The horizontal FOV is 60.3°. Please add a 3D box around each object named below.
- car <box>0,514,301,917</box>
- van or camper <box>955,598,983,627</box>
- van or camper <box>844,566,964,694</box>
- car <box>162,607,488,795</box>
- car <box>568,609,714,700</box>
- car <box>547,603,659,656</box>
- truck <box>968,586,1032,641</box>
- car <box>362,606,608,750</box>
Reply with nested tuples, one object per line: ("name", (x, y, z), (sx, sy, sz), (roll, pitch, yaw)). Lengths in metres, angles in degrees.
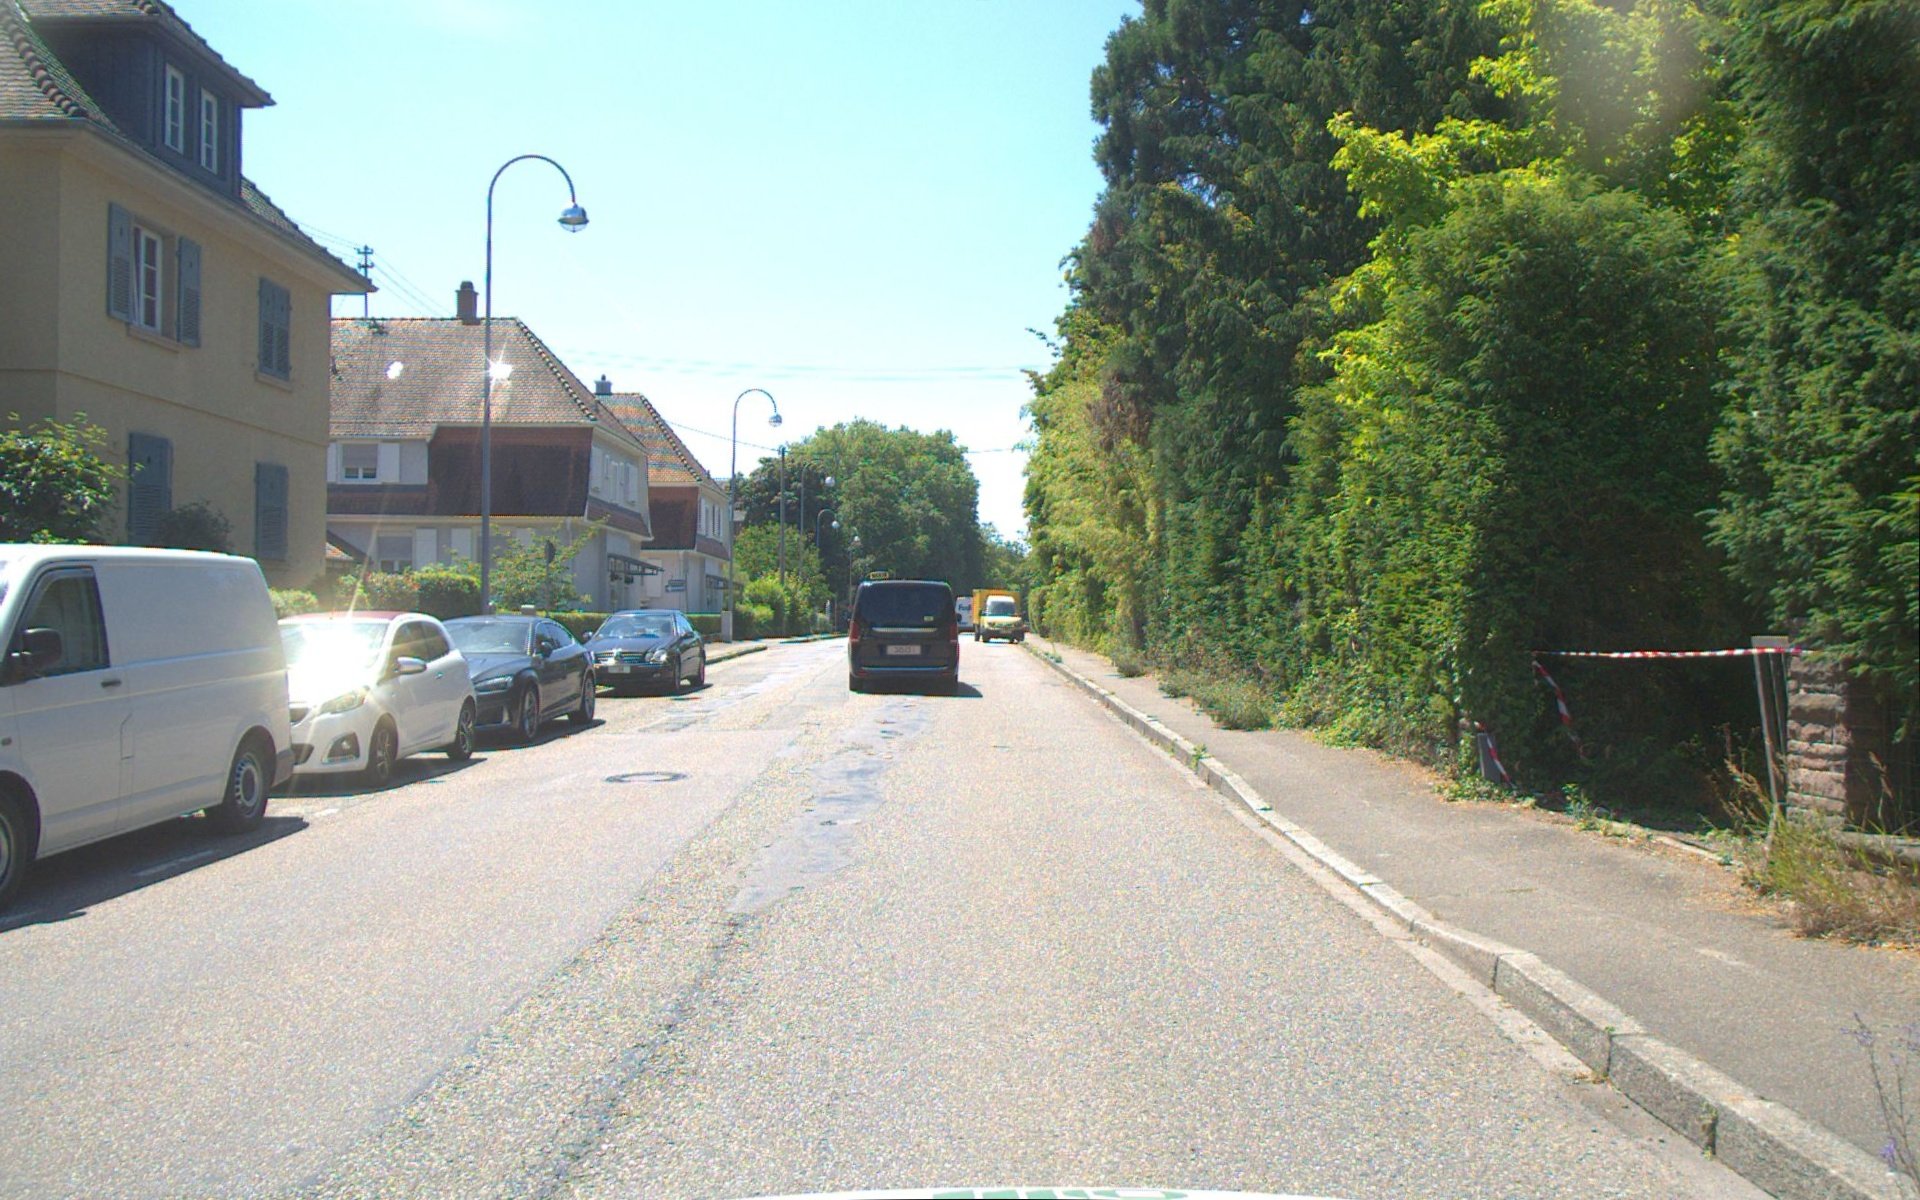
("car", (-5.694, 0.609, 9.581), (1.840, 1.997, 4.625), (-2, 0, 0))
("van or camper", (0.661, 0.877, 117.508), (1.952, 2.049, 4.000), (0, -1, 1))
("van or camper", (-0.896, 0.510, 29.349), (1.863, 2.049, 5.270), (1, -1, 0))
("car", (-5.643, 0.823, 15.154), (1.632, 1.519, 3.478), (0, 0, 0))
("car", (-5.479, 0.895, 28.931), (1.632, 1.410, 4.380), (-2, 0, 1))
("car", (-13.392, 1.087, 62.156), (3.788, 1.938, 1.879), (-1, 0, 0))
("truck", (1.703, 0.610, 72.219), (2.309, 2.298, 6.087), (0, -1, -3))
("car", (-5.506, 0.835, 19.763), (1.632, 1.519, 4.465), (0, 0, 0))
